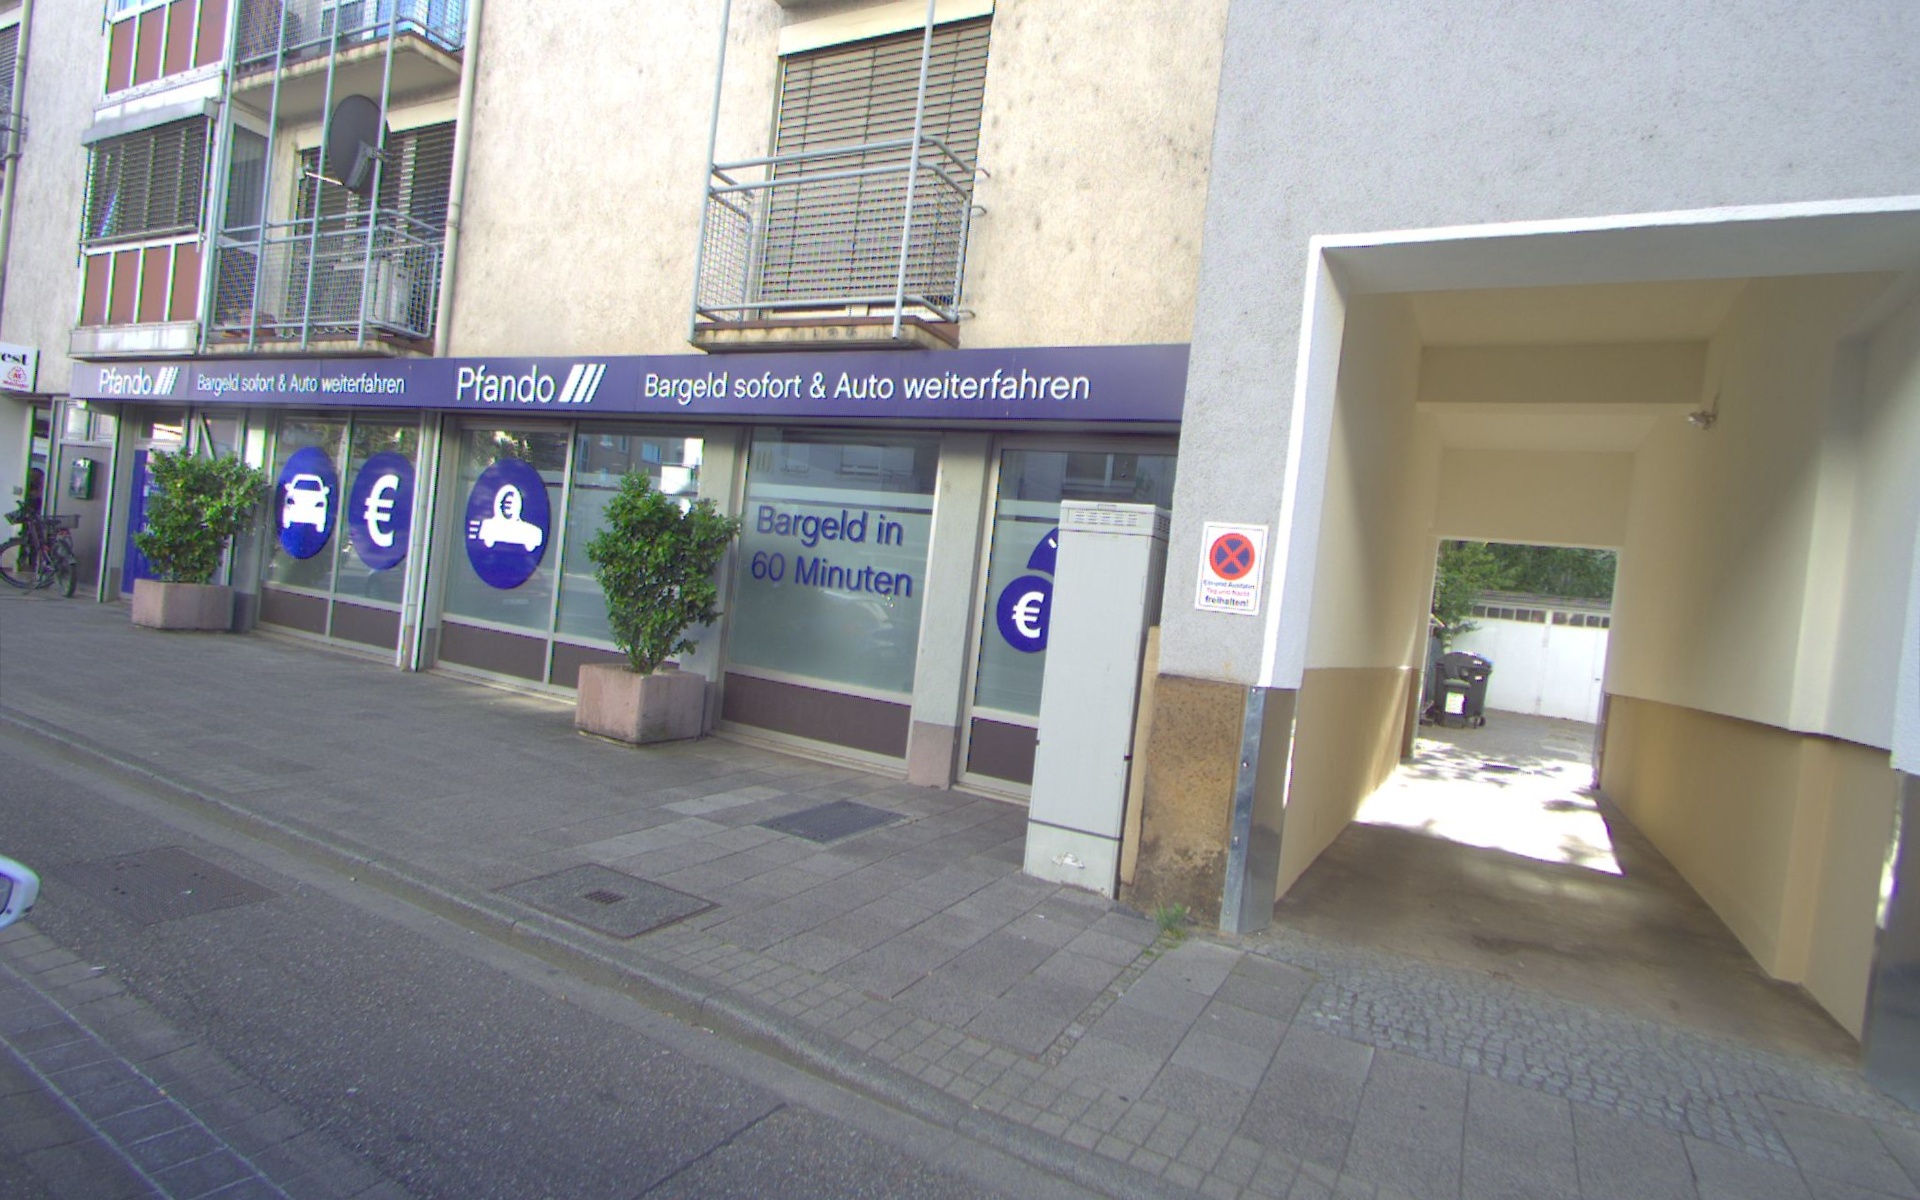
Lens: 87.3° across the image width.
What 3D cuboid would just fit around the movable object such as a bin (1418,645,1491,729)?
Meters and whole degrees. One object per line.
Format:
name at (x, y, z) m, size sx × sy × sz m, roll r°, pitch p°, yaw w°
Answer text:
movable object such as a bin at (10.034, 1.774, 20.378) m, size 1.092 × 1.511 × 1.329 m, roll 6°, pitch -2°, yaw 30°

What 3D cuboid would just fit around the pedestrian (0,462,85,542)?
pedestrian at (-14.165, -1.503, 15.533) m, size 0.667 × 1.102 × 0.624 m, roll 7°, pitch 2°, yaw -5°

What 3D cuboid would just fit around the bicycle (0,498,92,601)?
bicycle at (-11.855, -0.670, 12.866) m, size 1.747 × 1.176 × 0.497 m, roll 6°, pitch 0°, yaw 29°
